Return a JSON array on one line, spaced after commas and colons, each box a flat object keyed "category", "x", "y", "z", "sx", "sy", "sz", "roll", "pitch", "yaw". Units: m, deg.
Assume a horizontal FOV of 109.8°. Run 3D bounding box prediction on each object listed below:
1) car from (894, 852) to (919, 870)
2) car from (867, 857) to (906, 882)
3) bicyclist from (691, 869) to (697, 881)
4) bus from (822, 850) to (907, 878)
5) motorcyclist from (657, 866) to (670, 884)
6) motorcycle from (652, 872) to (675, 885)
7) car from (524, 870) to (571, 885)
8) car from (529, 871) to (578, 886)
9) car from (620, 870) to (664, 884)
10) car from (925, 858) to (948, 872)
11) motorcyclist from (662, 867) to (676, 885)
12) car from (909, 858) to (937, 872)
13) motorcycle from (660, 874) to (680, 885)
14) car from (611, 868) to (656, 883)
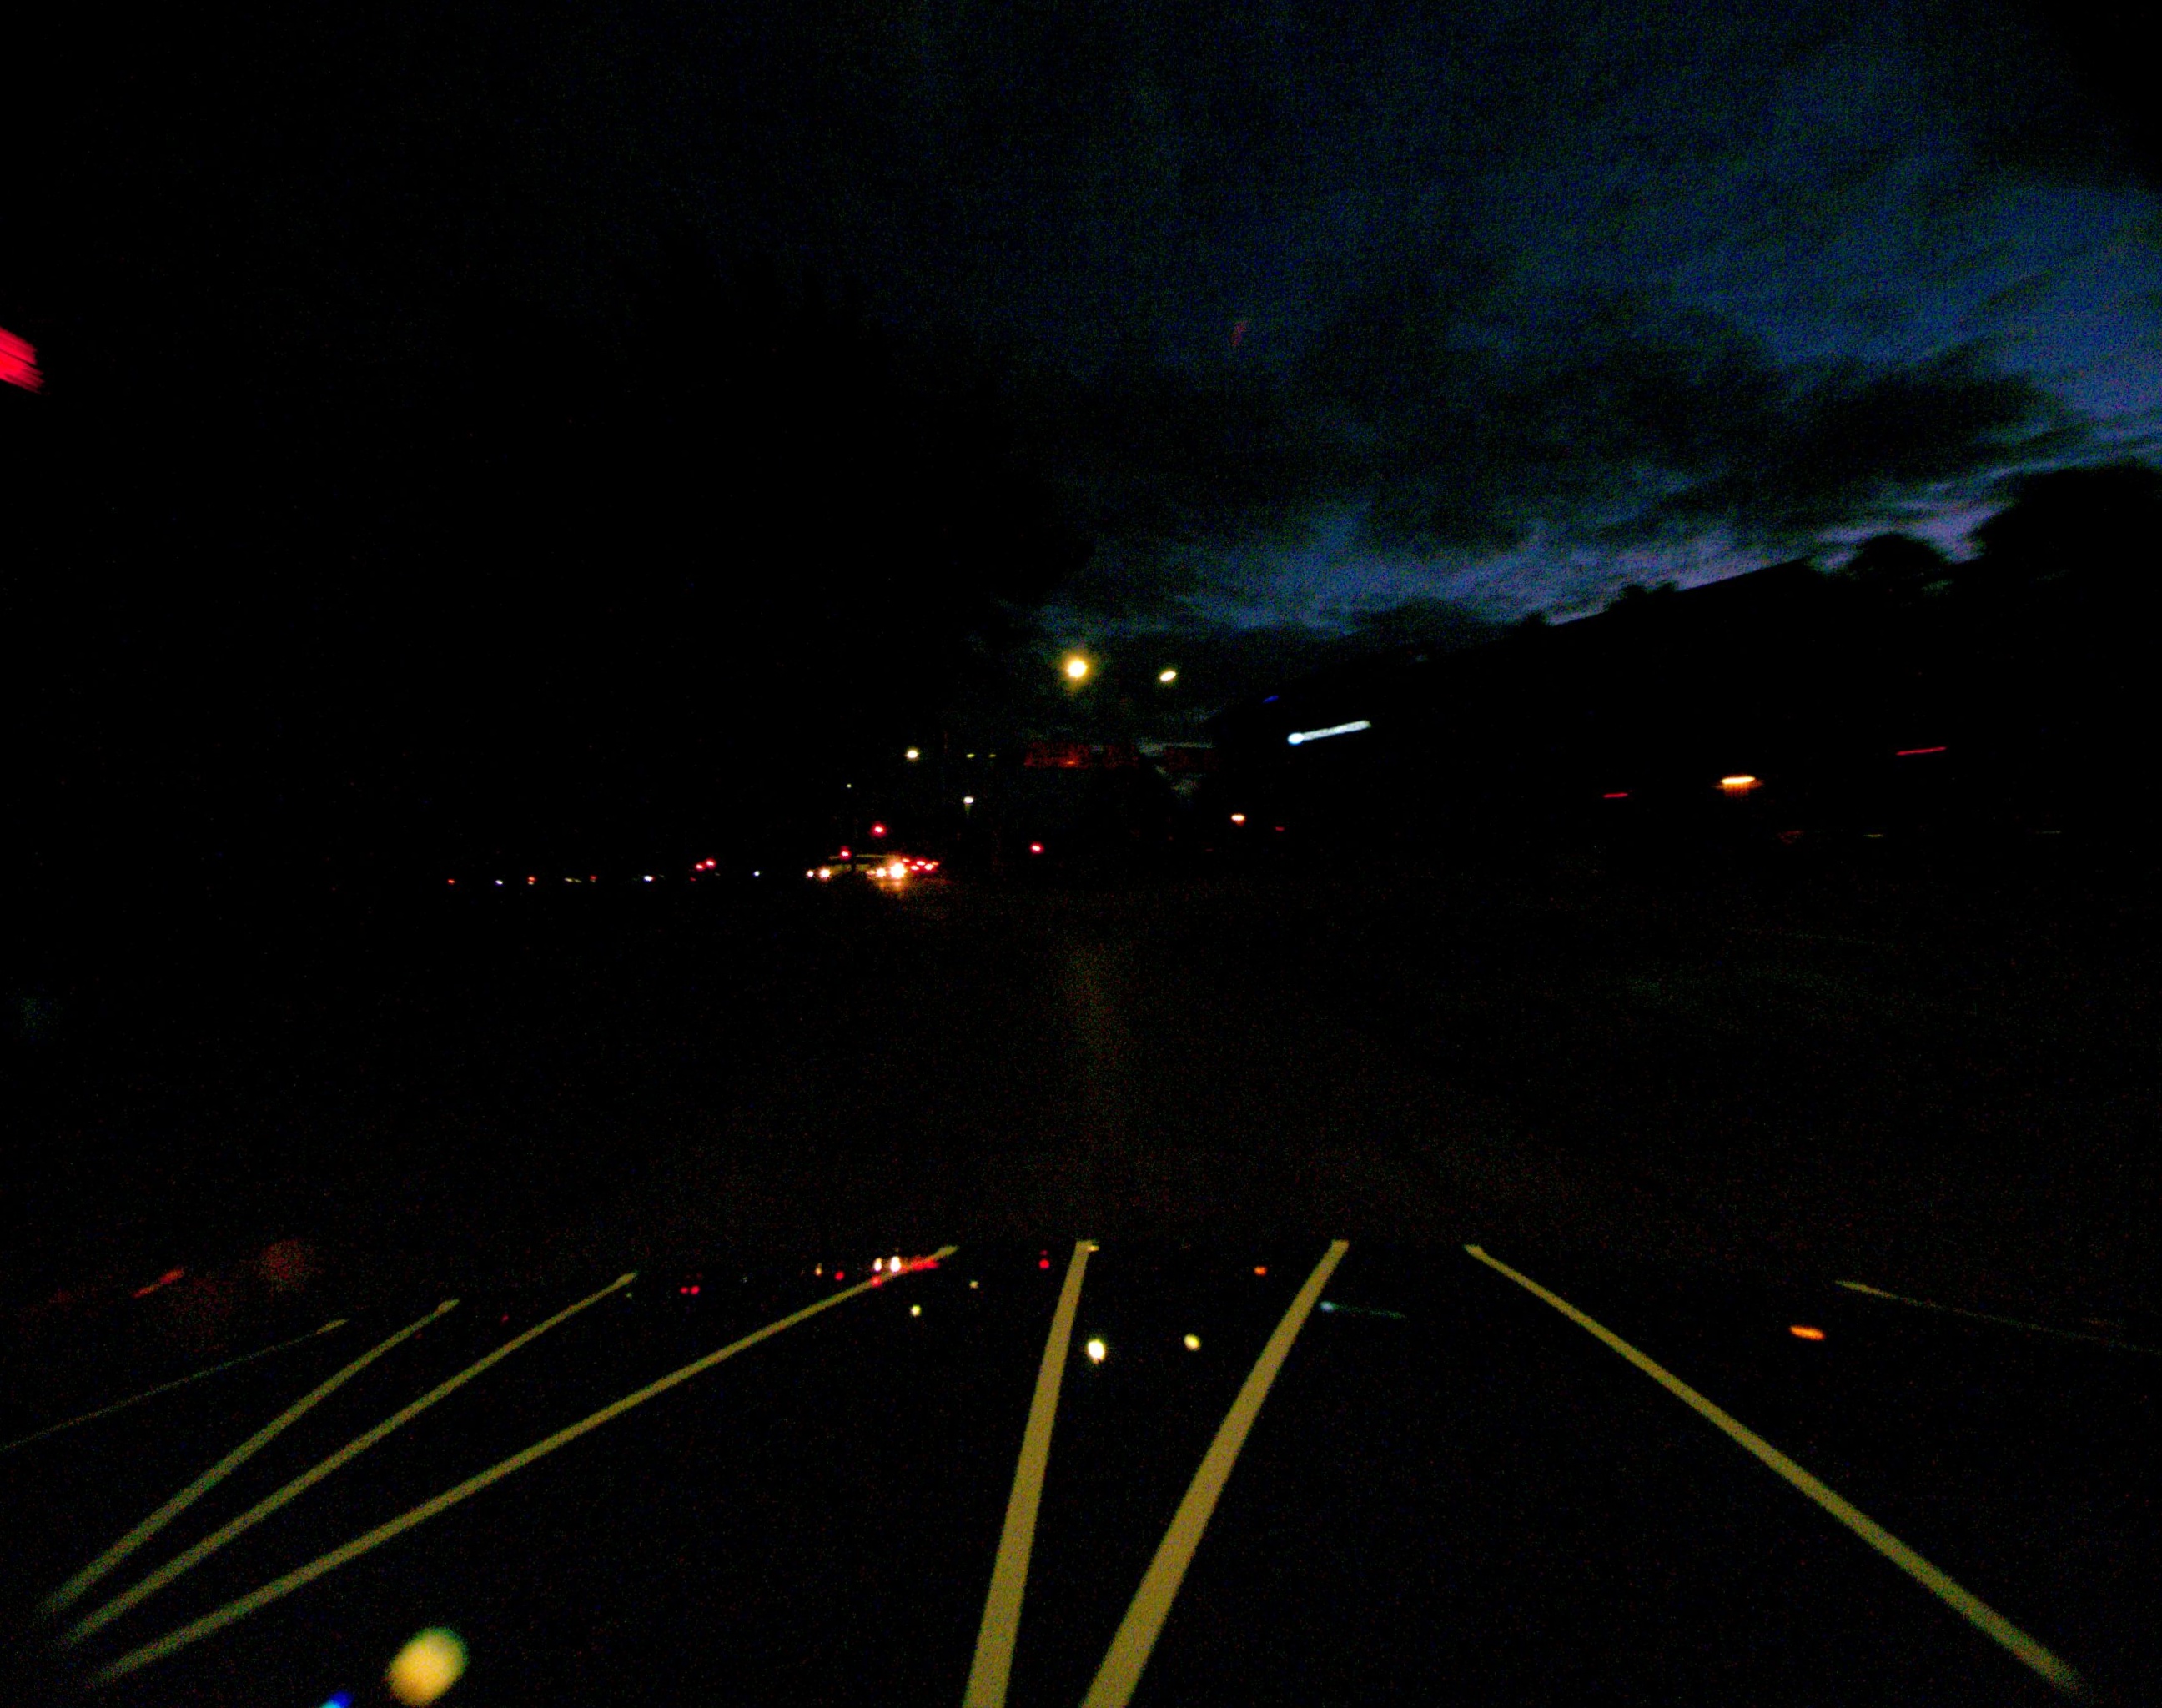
[{"category": "car", "x": -20.154, "y": 0.843, "z": 87.652, "sx": 1.851, "sy": 1.803, "sz": 4.767, "roll": -1, "pitch": -2, "yaw": -23}, {"category": "car", "x": -14.258, "y": 1.132, "z": 55.560, "sx": 1.673, "sy": 1.643, "sz": 4.402, "roll": -3, "pitch": 0, "yaw": -28}, {"category": "bicyclist", "x": -52.279, "y": 2.856, "z": 102.651, "sx": 0.605, "sy": 1.641, "sz": 0.998, "roll": -2, "pitch": -1, "yaw": -28}, {"category": "bus", "x": -31.300, "y": 1.405, "z": 110.481, "sx": 2.609, "sy": 3.766, "sz": 12.302, "roll": -4, "pitch": -3, "yaw": 42}, {"category": "motorcyclist", "x": -42.764, "y": 2.151, "z": 77.778, "sx": 0.682, "sy": 1.750, "sz": 0.791, "roll": 0, "pitch": 4, "yaw": 32}, {"category": "motorcycle", "x": -42.732, "y": 2.480, "z": 77.830, "sx": 0.847, "sy": 1.175, "sz": 1.824, "roll": 0, "pitch": 4, "yaw": 32}, {"category": "car", "x": -60.115, "y": 2.643, "z": 85.738, "sx": 4.004, "sy": 1.515, "sz": 1.834, "roll": -1, "pitch": -1, "yaw": -23}, {"category": "car", "x": -61.889, "y": 2.901, "z": 89.241, "sx": 4.367, "sy": 1.616, "sz": 1.749, "roll": -1, "pitch": -2, "yaw": -22}, {"category": "car", "x": -55.258, "y": 2.865, "z": 95.687, "sx": 4.590, "sy": 1.623, "sz": 1.855, "roll": -1, "pitch": -2, "yaw": -22}, {"category": "car", "x": -16.666, "y": 1.316, "z": 87.471, "sx": 1.777, "sy": 1.438, "sz": 3.774, "roll": -1, "pitch": -2, "yaw": -23}, {"category": "motorcyclist", "x": -41.958, "y": 2.229, "z": 77.347, "sx": 0.914, "sy": 1.799, "sz": 0.872, "roll": 1, "pitch": 6, "yaw": 37}, {"category": "car", "x": -16.801, "y": 1.187, "z": 80.667, "sx": 1.879, "sy": 1.389, "sz": 4.829, "roll": -2, "pitch": -1, "yaw": -25}, {"category": "motorcycle", "x": -41.890, "y": 2.592, "z": 77.465, "sx": 0.721, "sy": 1.028, "sz": 1.579, "roll": 1, "pitch": 6, "yaw": 37}, {"category": "car", "x": -54.266, "y": 2.612, "z": 92.157, "sx": 4.424, "sy": 1.672, "sz": 1.912, "roll": -1, "pitch": -2, "yaw": -22}]
